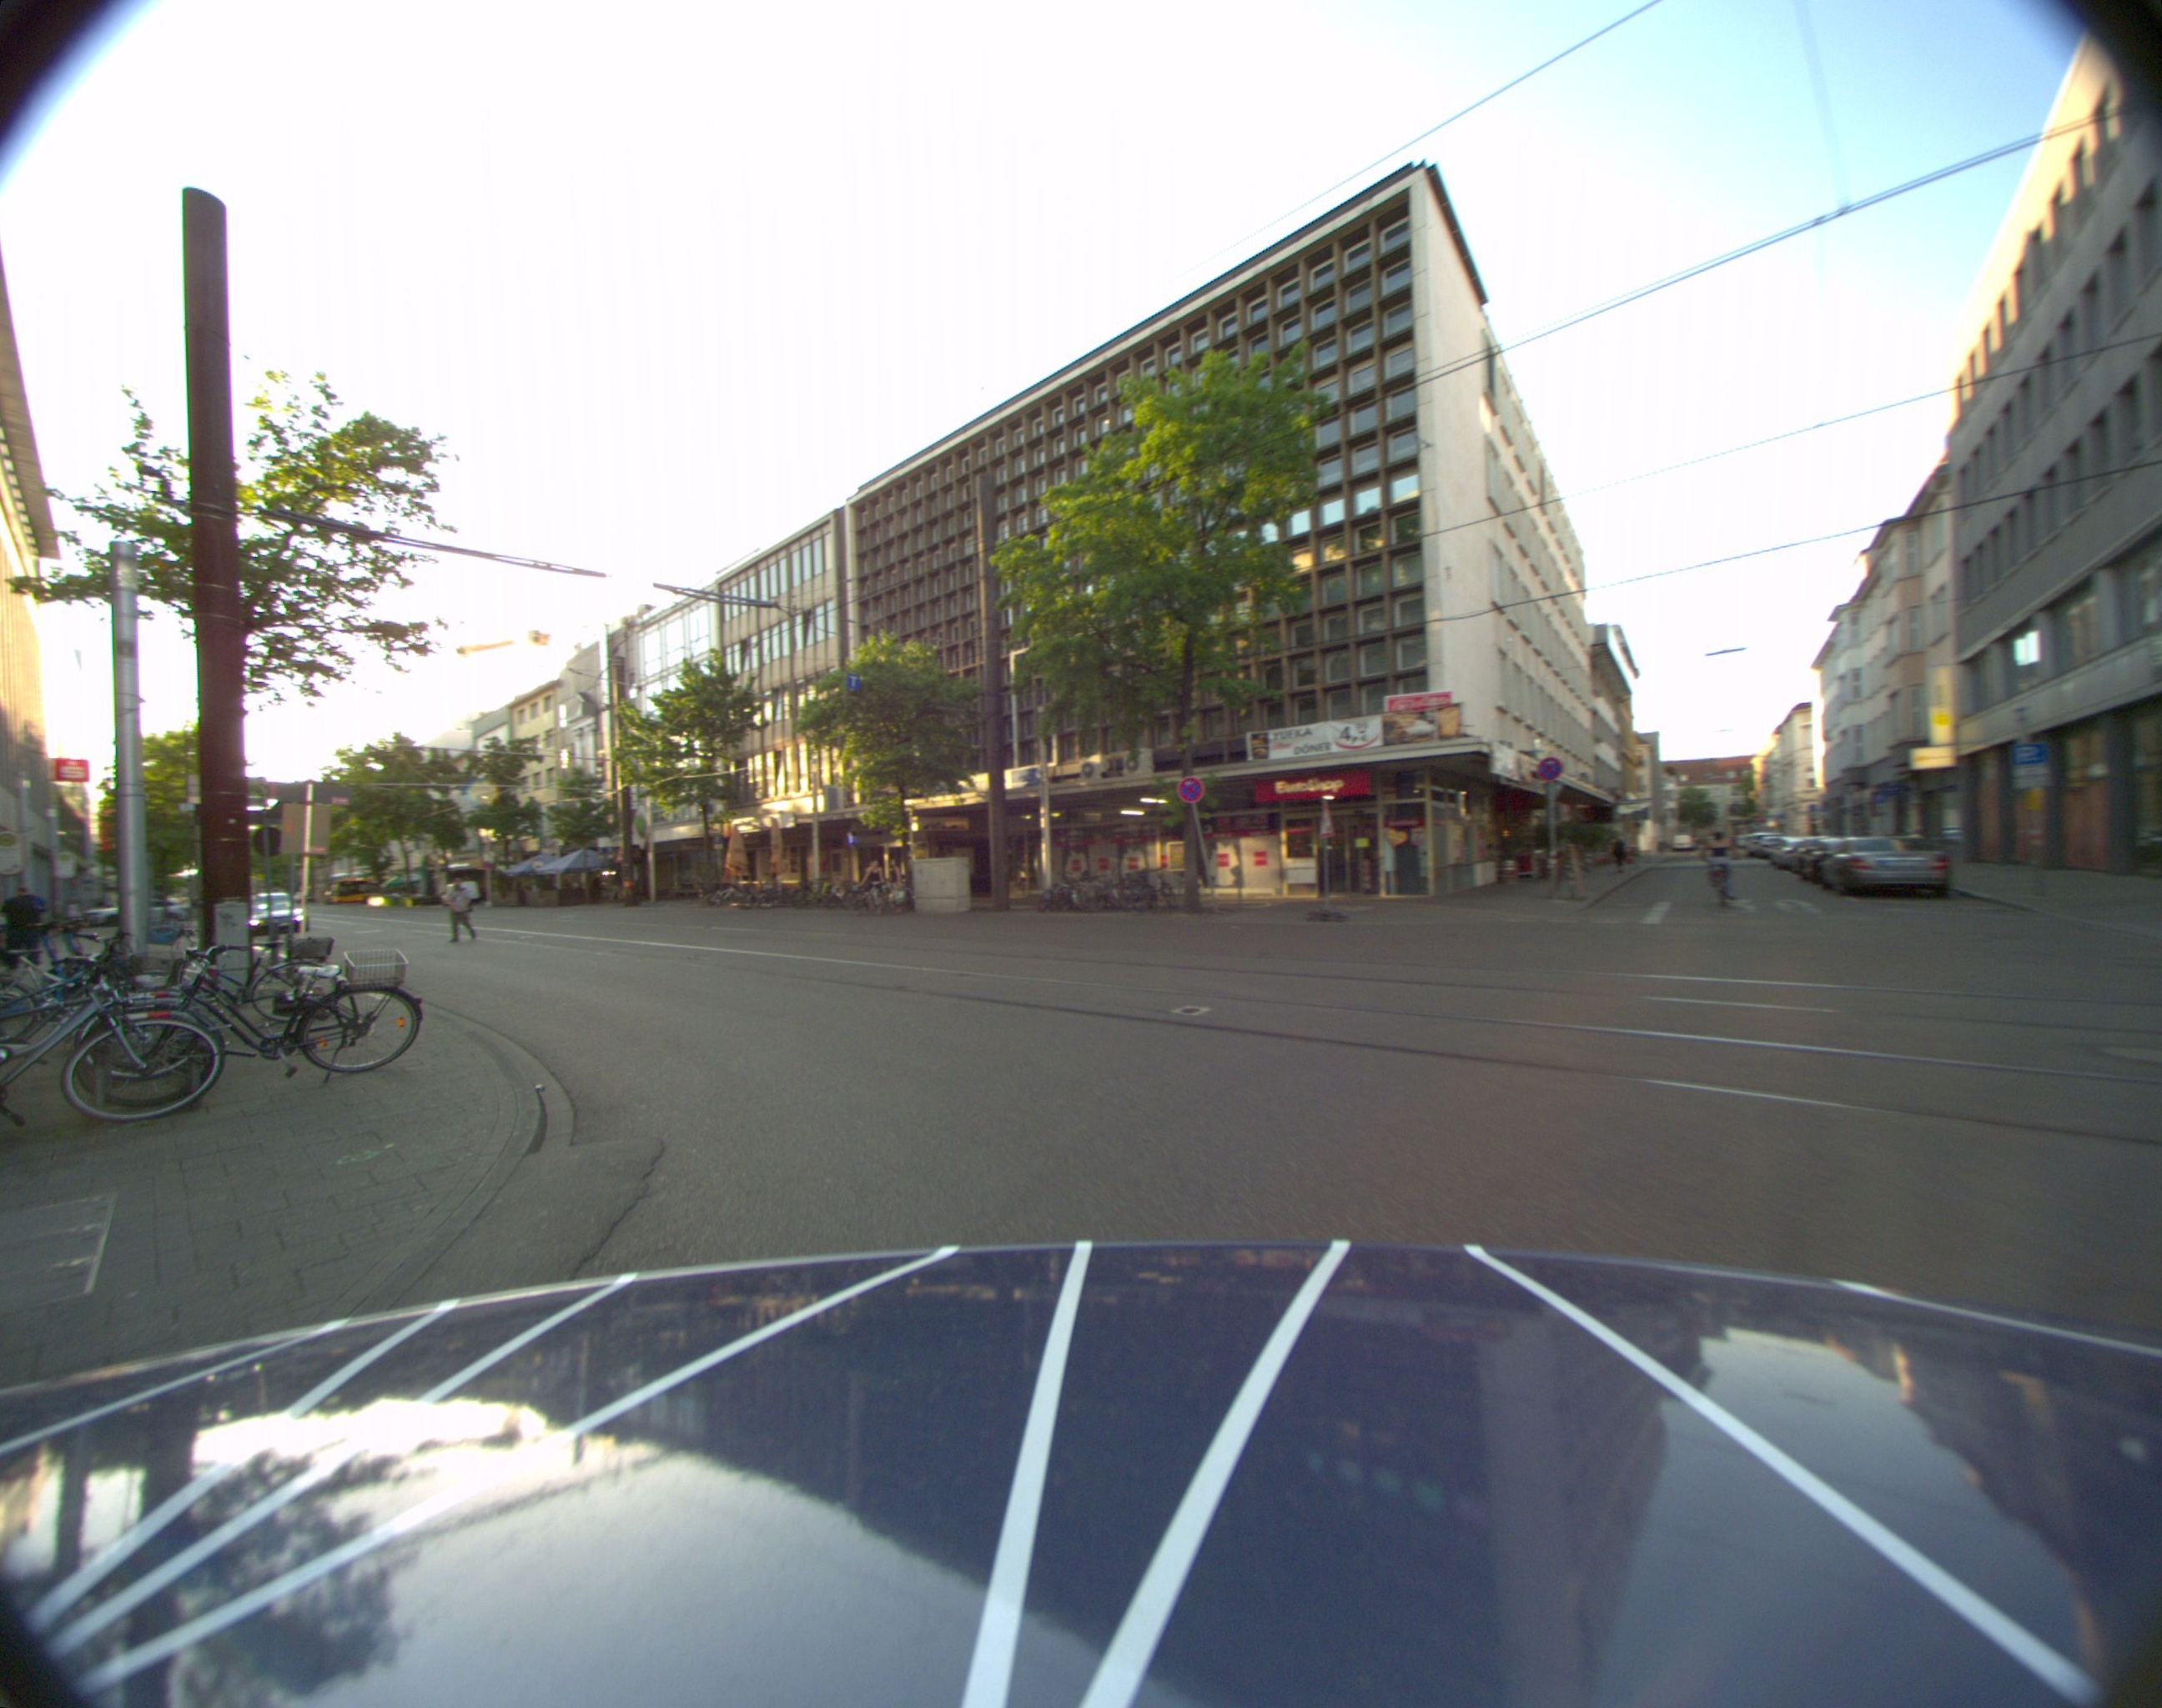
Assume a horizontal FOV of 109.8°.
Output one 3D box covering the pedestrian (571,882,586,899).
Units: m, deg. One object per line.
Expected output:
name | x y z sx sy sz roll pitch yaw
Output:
pedestrian | -36.886 2.662 55.756 0.664 1.150 0.644 -1 4 38

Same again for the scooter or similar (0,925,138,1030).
scooter or similar | -13.806 1.636 10.321 0.392 1.243 1.192 -2 -1 11

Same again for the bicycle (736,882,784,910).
bicycle | -13.052 1.703 30.934 0.488 0.984 1.780 -4 1 34

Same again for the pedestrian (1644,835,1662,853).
pedestrian | 54.407 -0.930 72.275 1.296 1.651 1.016 -3 0 42

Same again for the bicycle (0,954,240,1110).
bicycle | -8.571 1.476 6.392 0.761 1.071 1.925 -2 -2 35

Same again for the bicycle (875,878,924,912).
bicycle | -5.918 1.339 24.741 1.773 1.039 0.490 -3 1 37

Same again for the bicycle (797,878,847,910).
bicycle | -9.878 1.524 29.067 0.488 1.065 1.780 -3 2 34

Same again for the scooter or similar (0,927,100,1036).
scooter or similar | -13.346 1.599 9.650 0.393 1.243 1.190 -2 -1 -12

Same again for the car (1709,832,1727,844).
car | 85.267 -2.199 101.633 1.795 1.501 4.008 -1 1 41

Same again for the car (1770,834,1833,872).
car | 31.388 -0.076 33.196 1.795 1.501 4.008 -1 1 41

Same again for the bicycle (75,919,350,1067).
bicycle | -9.486 1.437 8.392 0.723 1.324 1.925 -2 -2 35

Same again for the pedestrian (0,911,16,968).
pedestrian | -26.628 2.101 18.422 0.660 1.373 0.817 -2 1 41

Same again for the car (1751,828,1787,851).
car | 48.499 -1.062 53.616 1.795 1.501 4.008 -1 1 41

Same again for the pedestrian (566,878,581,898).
pedestrian | -38.517 2.545 57.647 0.641 1.427 0.664 -1 6 40

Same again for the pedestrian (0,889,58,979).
pedestrian | -22.307 1.674 16.113 0.706 1.828 0.672 -2 0 39

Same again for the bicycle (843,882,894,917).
bicycle | -6.596 1.411 23.521 1.773 1.039 0.490 -3 1 37

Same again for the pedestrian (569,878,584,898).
pedestrian | -37.959 2.524 57.196 0.641 1.427 0.664 -1 6 40

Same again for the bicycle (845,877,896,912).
bicycle | -7.527 1.437 27.207 0.488 1.065 1.780 -3 2 34

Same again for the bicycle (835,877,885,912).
bicycle | -7.980 1.454 27.512 0.488 1.065 1.780 -3 2 34

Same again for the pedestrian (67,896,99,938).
pedestrian | -39.854 2.511 30.343 0.636 1.579 0.672 -2 2 39

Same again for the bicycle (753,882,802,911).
bicycle | -11.974 1.663 30.030 0.488 0.984 1.780 -4 1 34

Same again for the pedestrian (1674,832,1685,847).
pedestrian | 65.389 -1.574 82.989 0.869 1.651 0.932 -3 0 40

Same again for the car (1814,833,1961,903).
car | 19.566 0.284 18.631 1.795 1.501 4.141 -1 1 37

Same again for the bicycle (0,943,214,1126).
bicycle | -8.103 1.373 5.774 0.761 1.215 1.925 -2 -2 35

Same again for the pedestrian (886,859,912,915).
pedestrian | -5.681 1.028 23.713 0.603 1.689 0.535 -3 1 -21

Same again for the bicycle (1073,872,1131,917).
bicycle | 0.574 1.059 20.415 0.488 1.039 1.781 -3 1 40

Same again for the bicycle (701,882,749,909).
bicycle | -15.496 1.796 33.075 1.780 0.960 0.488 -5 3 -33

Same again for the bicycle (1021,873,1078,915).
bicycle | -0.879 1.118 21.605 0.488 1.039 1.781 -3 1 40

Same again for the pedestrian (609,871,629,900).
pedestrian | -29.935 2.026 49.216 0.987 1.783 0.687 -2 3 41

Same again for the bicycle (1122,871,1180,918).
bicycle | 1.809 1.016 19.341 0.488 1.039 1.781 -3 1 40

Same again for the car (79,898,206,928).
car | -58.535 3.635 47.514 1.915 1.619 4.642 -3 -2 8

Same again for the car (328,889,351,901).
car | -97.036 5.350 99.432 3.989 1.501 1.804 -3 0 40

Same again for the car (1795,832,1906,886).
car | 23.392 0.111 23.250 1.795 1.501 4.141 -1 1 37

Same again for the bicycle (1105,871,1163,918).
bicycle | 1.387 1.029 19.739 0.488 1.039 1.781 -3 1 40

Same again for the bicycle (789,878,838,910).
bicycle | -10.334 1.542 29.419 0.488 1.065 1.780 -3 2 34

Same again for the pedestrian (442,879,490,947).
pedestrian | -17.397 1.657 21.488 0.824 1.782 0.988 -6 2 -44

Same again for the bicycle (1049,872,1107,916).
bicycle | -0.068 1.083 20.923 0.488 1.039 1.781 -3 1 40

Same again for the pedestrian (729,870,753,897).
pedestrian | -17.560 1.529 39.262 0.909 1.318 0.673 -2 3 38

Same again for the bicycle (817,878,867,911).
bicycle | -8.894 1.488 28.315 0.488 1.065 1.780 -3 2 34

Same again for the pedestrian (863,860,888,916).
pedestrian | -6.405 1.061 23.703 0.603 1.689 0.535 -3 1 -21

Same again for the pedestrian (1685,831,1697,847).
pedestrian | 66.096 -1.600 82.314 0.975 1.651 0.980 -3 0 40

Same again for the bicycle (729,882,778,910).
bicycle | -13.462 1.718 31.264 0.488 0.984 1.780 -4 1 34

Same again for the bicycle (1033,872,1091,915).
bicycle | -0.505 1.094 21.288 0.488 1.039 1.781 -3 1 40

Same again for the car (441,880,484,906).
car | -49.364 3.085 60.571 4.318 1.812 1.835 -3 3 41

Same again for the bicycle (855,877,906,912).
bicycle | -7.032 1.419 26.784 0.488 1.065 1.780 -3 2 34

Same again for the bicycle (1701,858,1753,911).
bicycle | 14.620 0.665 17.238 0.815 1.067 2.117 -2 1 39

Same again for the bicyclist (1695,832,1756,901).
bicyclist | 14.604 0.282 17.243 0.997 1.493 0.859 -2 1 39

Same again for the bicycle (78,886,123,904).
bicycle | -68.523 2.865 53.111 0.730 1.067 1.869 1 3 39

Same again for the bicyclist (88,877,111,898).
bicyclist | -68.548 2.326 53.069 0.759 1.407 0.899 1 3 39

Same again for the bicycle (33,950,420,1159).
bicycle | -6.274 1.378 5.713 0.665 1.102 1.862 -2 -1 38

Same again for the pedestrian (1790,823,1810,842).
pedestrian | 65.633 -1.937 69.355 0.929 1.651 0.872 -3 0 8

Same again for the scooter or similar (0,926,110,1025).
scooter or similar | -14.504 1.665 10.561 0.496 1.243 1.117 -2 -1 10

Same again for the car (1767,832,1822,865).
car | 34.916 -0.277 37.263 1.795 1.501 4.008 -1 1 41

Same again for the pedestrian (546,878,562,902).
pedestrian | -36.450 2.494 52.535 0.563 1.544 0.659 -1 4 38

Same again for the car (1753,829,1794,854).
car | 44.463 -0.830 48.853 1.795 1.501 4.008 -1 1 41

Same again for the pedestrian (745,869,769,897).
pedestrian | -16.497 1.481 38.680 0.909 1.318 0.673 -2 3 38

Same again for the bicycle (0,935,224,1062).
bicycle | -10.851 1.533 8.233 0.723 1.148 2.007 -2 -2 35

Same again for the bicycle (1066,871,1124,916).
bicycle | 0.390 1.061 20.572 0.488 1.039 1.781 -3 1 40

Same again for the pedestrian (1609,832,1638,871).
pedestrian | 24.035 -0.101 33.655 0.869 1.651 0.932 -3 0 43

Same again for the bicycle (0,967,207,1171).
bicycle | -6.881 1.378 4.720 0.665 1.102 1.862 -2 -1 38
